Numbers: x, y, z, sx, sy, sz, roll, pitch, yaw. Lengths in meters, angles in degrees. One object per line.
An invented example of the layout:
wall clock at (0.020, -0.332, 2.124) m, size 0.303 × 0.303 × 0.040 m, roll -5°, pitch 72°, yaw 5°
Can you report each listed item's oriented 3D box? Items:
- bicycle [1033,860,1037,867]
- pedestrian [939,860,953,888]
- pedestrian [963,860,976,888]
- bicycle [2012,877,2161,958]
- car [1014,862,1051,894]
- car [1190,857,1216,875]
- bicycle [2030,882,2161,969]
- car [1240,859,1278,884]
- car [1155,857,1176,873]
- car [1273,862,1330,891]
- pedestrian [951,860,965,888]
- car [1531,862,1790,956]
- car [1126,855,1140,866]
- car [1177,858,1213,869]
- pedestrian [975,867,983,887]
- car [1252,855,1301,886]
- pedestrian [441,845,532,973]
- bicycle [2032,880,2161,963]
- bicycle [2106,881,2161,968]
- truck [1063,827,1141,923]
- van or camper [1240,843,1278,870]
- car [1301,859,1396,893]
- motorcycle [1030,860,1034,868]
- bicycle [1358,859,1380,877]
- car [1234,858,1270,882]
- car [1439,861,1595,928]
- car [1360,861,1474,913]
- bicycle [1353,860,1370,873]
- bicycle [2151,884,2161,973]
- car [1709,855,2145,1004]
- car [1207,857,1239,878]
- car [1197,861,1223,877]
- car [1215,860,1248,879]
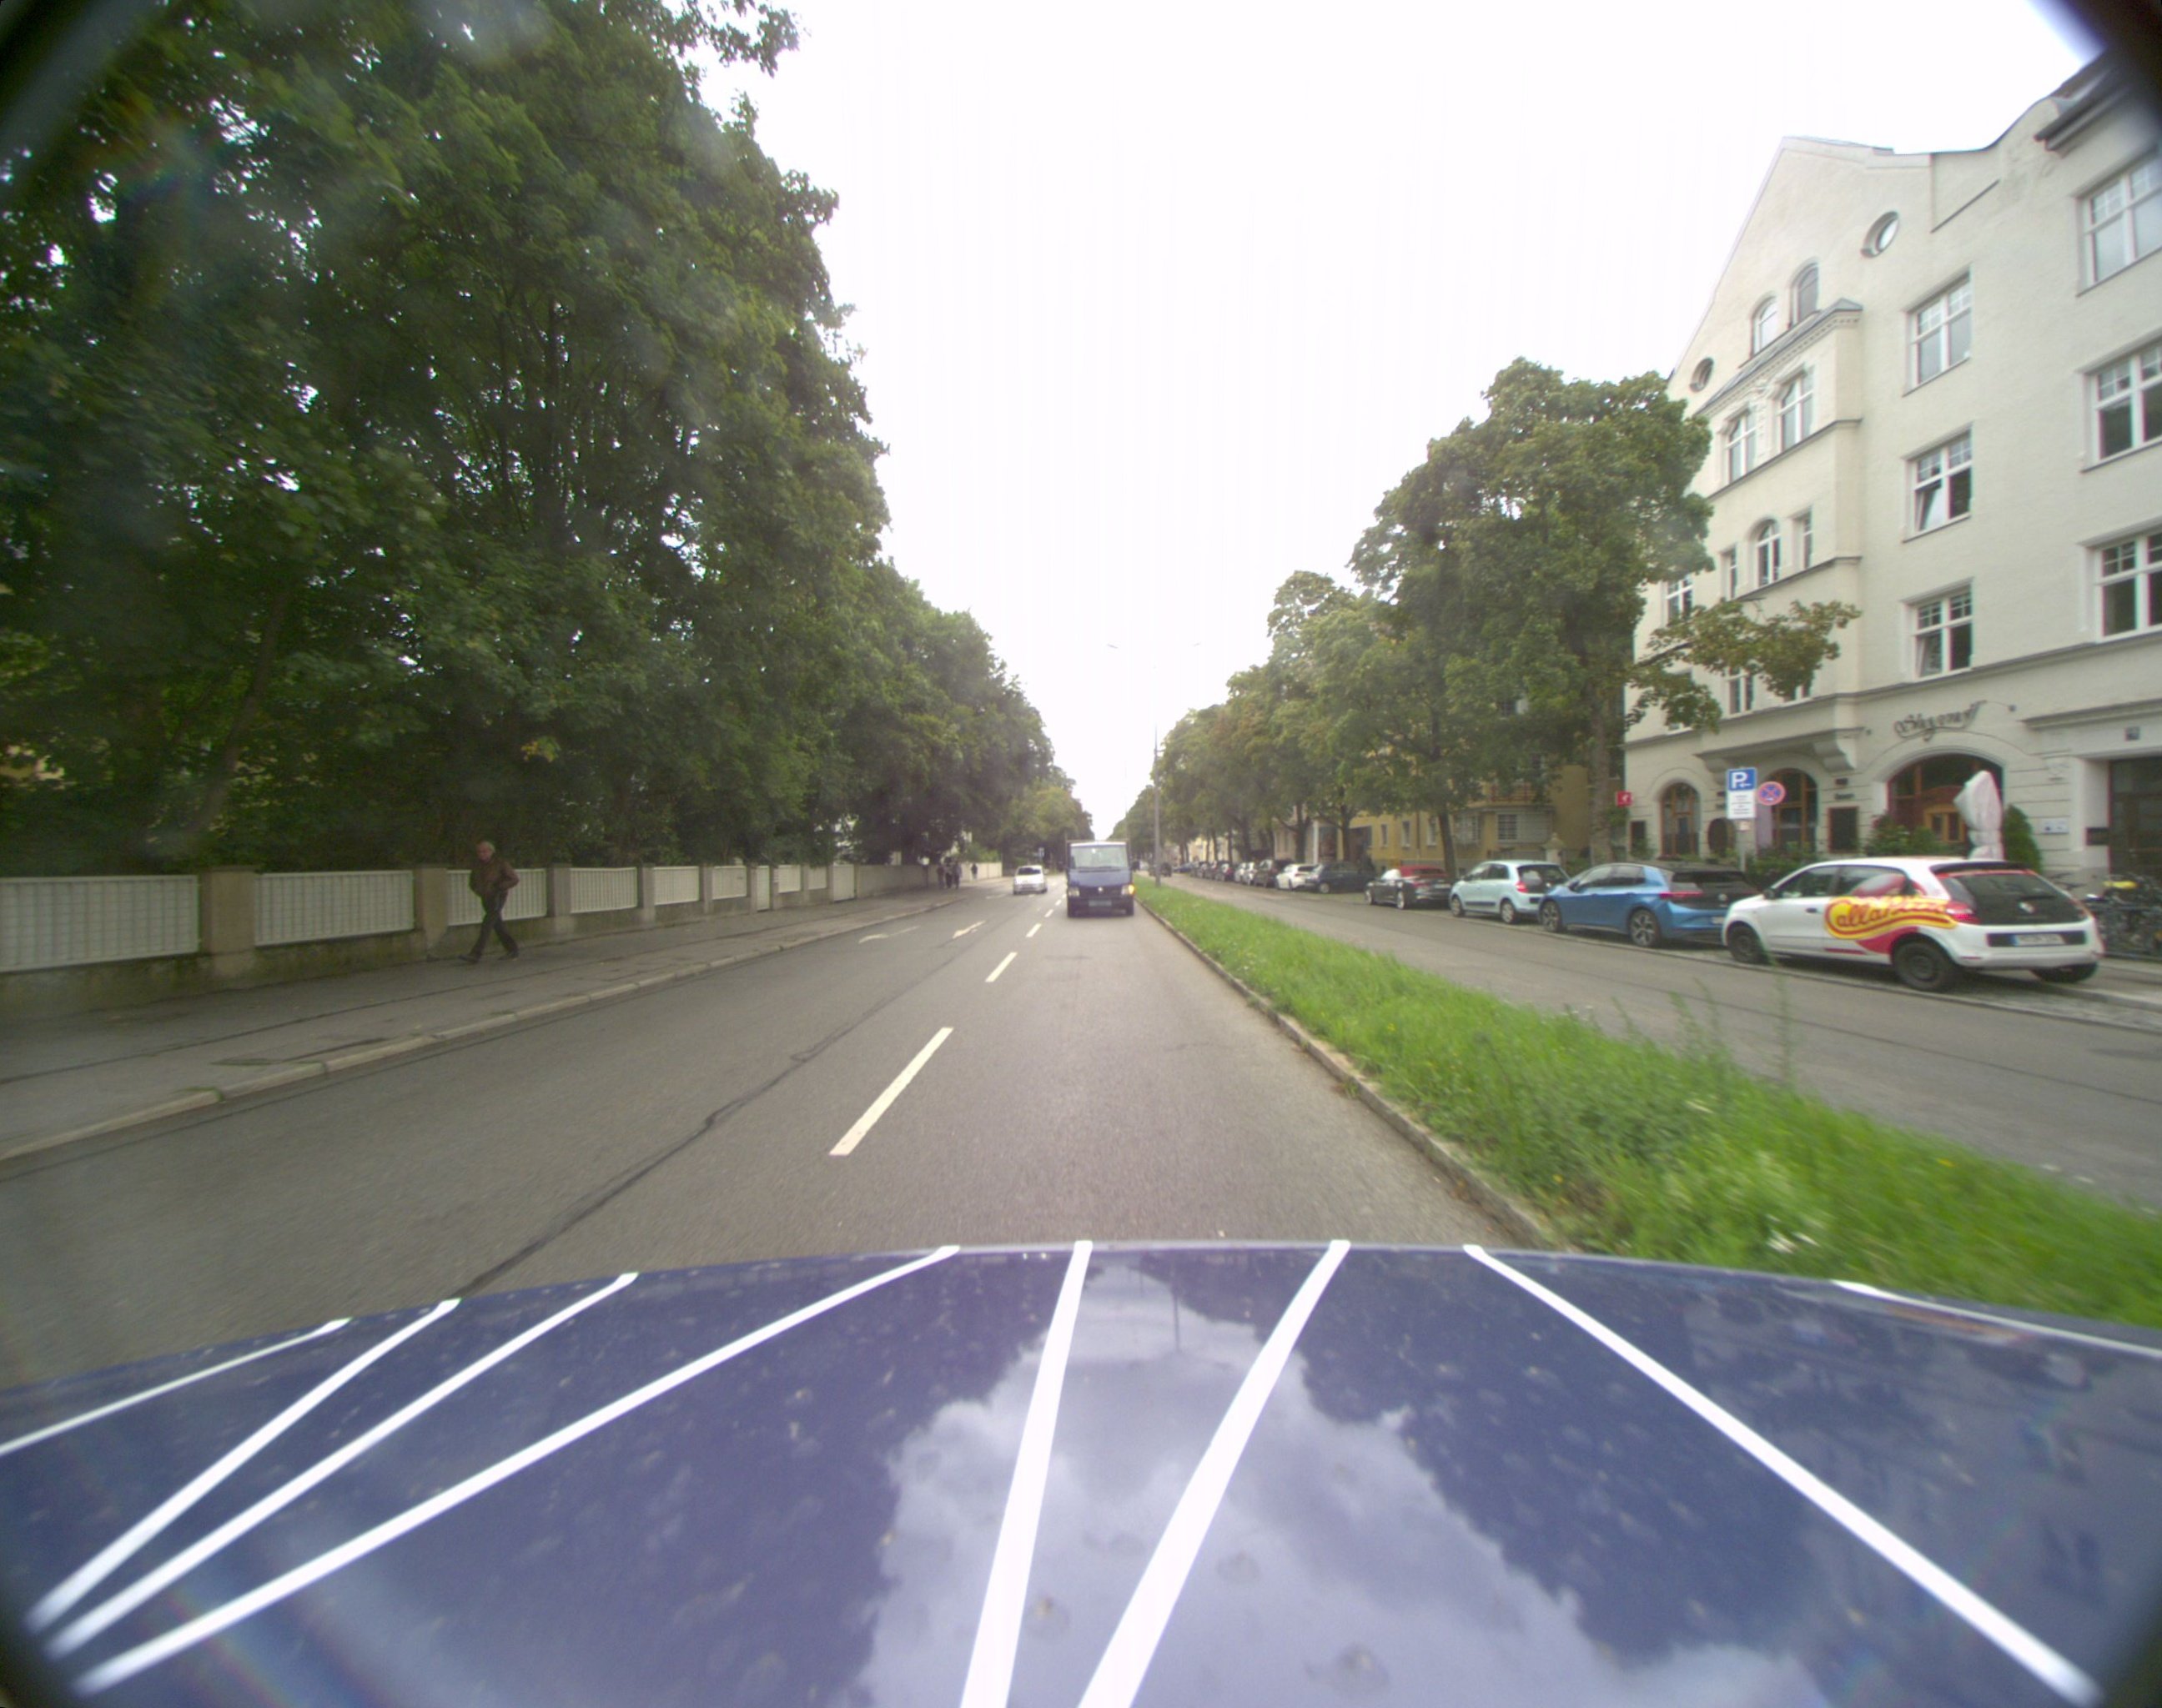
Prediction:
bicycle at (-7.474, 1.498, 124.116) m, size 0.490 × 1.092 × 1.631 m, roll -1°, pitch 0°, yaw -9°
pedestrian at (-8.296, 1.217, 46.668) m, size 0.668 × 1.695 × 0.766 m, roll 1°, pitch 0°, yaw 0°
pedestrian at (-6.847, 1.206, 46.566) m, size 0.668 × 1.712 × 0.729 m, roll 1°, pitch 0°, yaw 0°
bicycle at (15.125, 0.907, 11.043) m, size 0.460 × 1.109 × 1.962 m, roll -1°, pitch 0°, yaw -30°
car at (-2.537, 1.240, 40.356) m, size 1.647 × 1.553 × 3.586 m, roll -1°, pitch 0°, yaw 0°
car at (12.087, 1.144, 75.546) m, size 1.878 × 1.677 × 4.439 m, roll -1°, pitch 0°, yaw 1°
bicycle at (14.438, 0.962, 10.316) m, size 0.550 × 1.109 × 1.877 m, roll -1°, pitch 0°, yaw -30°
car at (11.642, 1.129, 49.775) m, size 1.731 × 1.548 × 3.010 m, roll -1°, pitch 0°, yaw -1°
car at (8.631, 1.126, 77.917) m, size 1.879 × 1.575 × 4.621 m, roll 1°, pitch 0°, yaw 3°
car at (11.395, 1.126, 39.571) m, size 1.731 × 1.394 × 4.404 m, roll -1°, pitch 0°, yaw 1°
pedestrian at (-7.548, 1.196, 46.585) m, size 0.668 × 1.683 × 0.729 m, roll 1°, pitch 0°, yaw 0°
car at (10.868, 0.927, 14.741) m, size 1.815 × 1.498 × 4.291 m, roll -1°, pitch 0°, yaw 1°
car at (7.495, 0.930, 110.132) m, size 1.774 × 1.669 × 4.369 m, roll 1°, pitch 0°, yaw 1°
car at (14.215, 1.185, 94.513) m, size 3.989 × 1.367 × 1.866 m, roll -2°, pitch -1°, yaw 34°
pedestrian at (-8.344, 1.891, 62.347) m, size 0.529 × 1.572 × 0.729 m, roll 1°, pitch 0°, yaw 0°
car at (11.625, 0.967, 45.464) m, size 1.815 × 1.717 × 4.767 m, roll -1°, pitch 0°, yaw 1°
pedestrian at (-9.251, 0.833, 11.846) m, size 0.779 × 1.931 × 0.802 m, roll 0°, pitch 0°, yaw 1°
bicycle at (14.907, 0.936, 10.609) m, size 0.505 × 1.109 × 1.984 m, roll -1°, pitch 0°, yaw -30°
bicycle at (14.293, 0.914, 9.530) m, size 0.331 × 1.109 × 1.677 m, roll -1°, pitch 0°, yaw -26°
truck at (0.626, 0.562, 22.500) m, size 1.998 × 2.475 × 5.151 m, roll -1°, pitch 0°, yaw 2°
van or camper at (18.297, 0.285, 78.370) m, size 2.351 × 2.564 × 6.852 m, roll -1°, pitch 0°, yaw 1°
car at (12.634, 1.023, 36.064) m, size 3.899 × 1.455 × 1.732 m, roll -2°, pitch 0°, yaw 0°
motorcycle at (-7.563, 1.553, 116.587) m, size 0.497 × 1.135 × 1.631 m, roll -1°, pitch 0°, yaw -9°
bicycle at (19.925, 0.930, 52.609) m, size 0.771 × 1.215 × 1.931 m, roll -1°, pitch 0°, yaw 1°
car at (12.021, 1.109, 53.613) m, size 1.731 × 1.552 × 4.057 m, roll -1°, pitch 0°, yaw 1°
car at (11.016, 0.957, 19.552) m, size 1.815 × 1.498 × 3.960 m, roll -1°, pitch 0°, yaw 1°
car at (11.029, 1.023, 25.358) m, size 1.815 × 1.498 × 4.646 m, roll -1°, pitch 0°, yaw 1°
bicycle at (20.283, 0.911, 54.904) m, size 0.543 × 0.894 × 1.931 m, roll -1°, pitch 0°, yaw 1°
bicycle at (14.081, 0.927, 8.830) m, size 0.331 × 1.109 × 1.871 m, roll -1°, pitch 0°, yaw -22°
car at (10.630, 0.816, 10.047) m, size 1.653 × 1.575 × 3.791 m, roll -1°, pitch 0°, yaw 3°
car at (12.009, 1.110, 64.582) m, size 1.883 × 1.635 × 4.770 m, roll -1°, pitch 0°, yaw 1°
car at (11.912, 1.367, 70.541) m, size 1.696 × 1.446 × 4.493 m, roll -1°, pitch 0°, yaw 1°
car at (11.600, 1.185, 58.826) m, size 1.731 × 1.397 × 4.363 m, roll -1°, pitch 0°, yaw 1°
